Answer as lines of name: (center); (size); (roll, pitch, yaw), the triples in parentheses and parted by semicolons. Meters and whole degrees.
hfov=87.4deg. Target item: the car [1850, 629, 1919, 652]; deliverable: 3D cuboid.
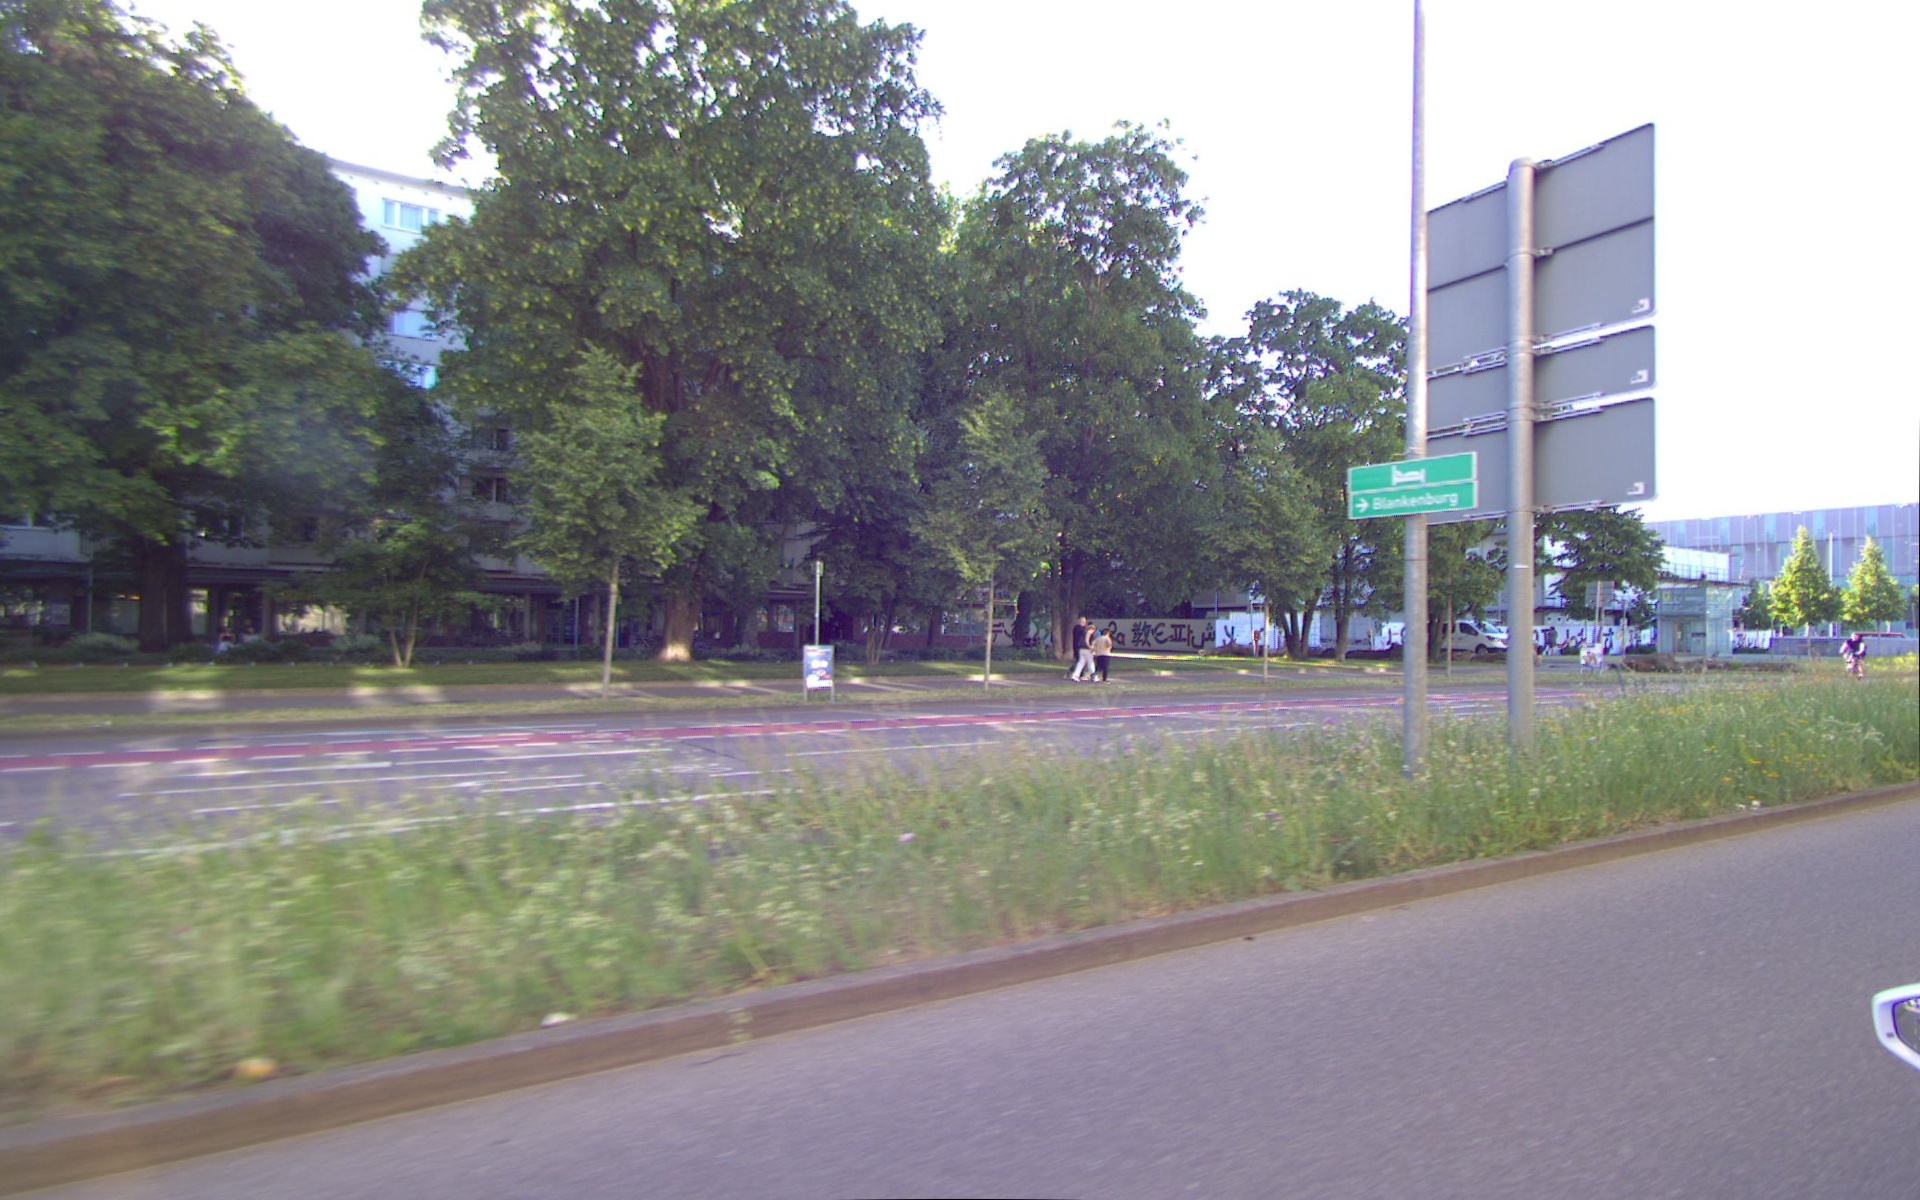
car: (79.879, 3.465, 86.434); (1.855, 1.834, 4.606); (4, -4, -37)

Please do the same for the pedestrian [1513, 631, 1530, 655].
pedestrian: (32.766, 2.504, 58.625); (0.826, 1.396, 0.576); (1, -1, -32)

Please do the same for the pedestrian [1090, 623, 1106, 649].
pedestrian: (8.977, 2.355, 65.248); (0.734, 1.662, 0.722); (1, -1, -24)

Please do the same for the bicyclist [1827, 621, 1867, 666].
bicyclist: (32.625, 1.603, 36.948); (1.188, 1.611, 0.743); (3, -3, -30)

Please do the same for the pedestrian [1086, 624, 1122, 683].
pedestrian: (4.158, 1.534, 29.033); (0.717, 1.662, 0.740); (1, -1, -26)

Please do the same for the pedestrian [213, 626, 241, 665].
pedestrian: (-25.934, 1.588, 35.550); (0.656, 1.357, 0.902); (1, -1, -27)

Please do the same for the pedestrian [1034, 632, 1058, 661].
pedestrian: (4.626, 2.502, 54.010); (0.886, 1.560, 0.895); (2, -2, -37)

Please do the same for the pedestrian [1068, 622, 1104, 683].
pedestrian: (3.719, 1.544, 29.669); (0.751, 1.763, 0.769); (1, -1, -26)

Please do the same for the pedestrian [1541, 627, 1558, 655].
pedestrian: (36.562, 2.555, 62.272); (0.826, 1.711, 0.576); (1, -1, -32)

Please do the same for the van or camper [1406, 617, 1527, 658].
van or camper: (27.275, 2.019, 54.316); (2.230, 2.040, 5.641); (3, -3, -28)

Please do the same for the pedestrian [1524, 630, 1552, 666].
pedestrian: (25.287, 2.098, 43.936); (0.929, 1.548, 0.611); (1, -1, -25)

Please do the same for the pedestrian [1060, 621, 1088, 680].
pedestrian: (3.419, 1.516, 30.206); (0.646, 1.763, 0.522); (1, -1, -26)

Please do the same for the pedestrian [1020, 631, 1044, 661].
pedestrian: (3.837, 2.448, 53.460); (0.886, 1.560, 0.895); (2, -2, -37)

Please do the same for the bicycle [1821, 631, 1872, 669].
bicycle: (32.598, 1.846, 36.925); (2.232, 1.291, 0.754); (4, -3, -30)

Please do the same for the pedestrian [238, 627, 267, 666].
pedestrian: (-25.287, 1.657, 35.908); (0.707, 1.357, 0.823); (1, -1, -27)
